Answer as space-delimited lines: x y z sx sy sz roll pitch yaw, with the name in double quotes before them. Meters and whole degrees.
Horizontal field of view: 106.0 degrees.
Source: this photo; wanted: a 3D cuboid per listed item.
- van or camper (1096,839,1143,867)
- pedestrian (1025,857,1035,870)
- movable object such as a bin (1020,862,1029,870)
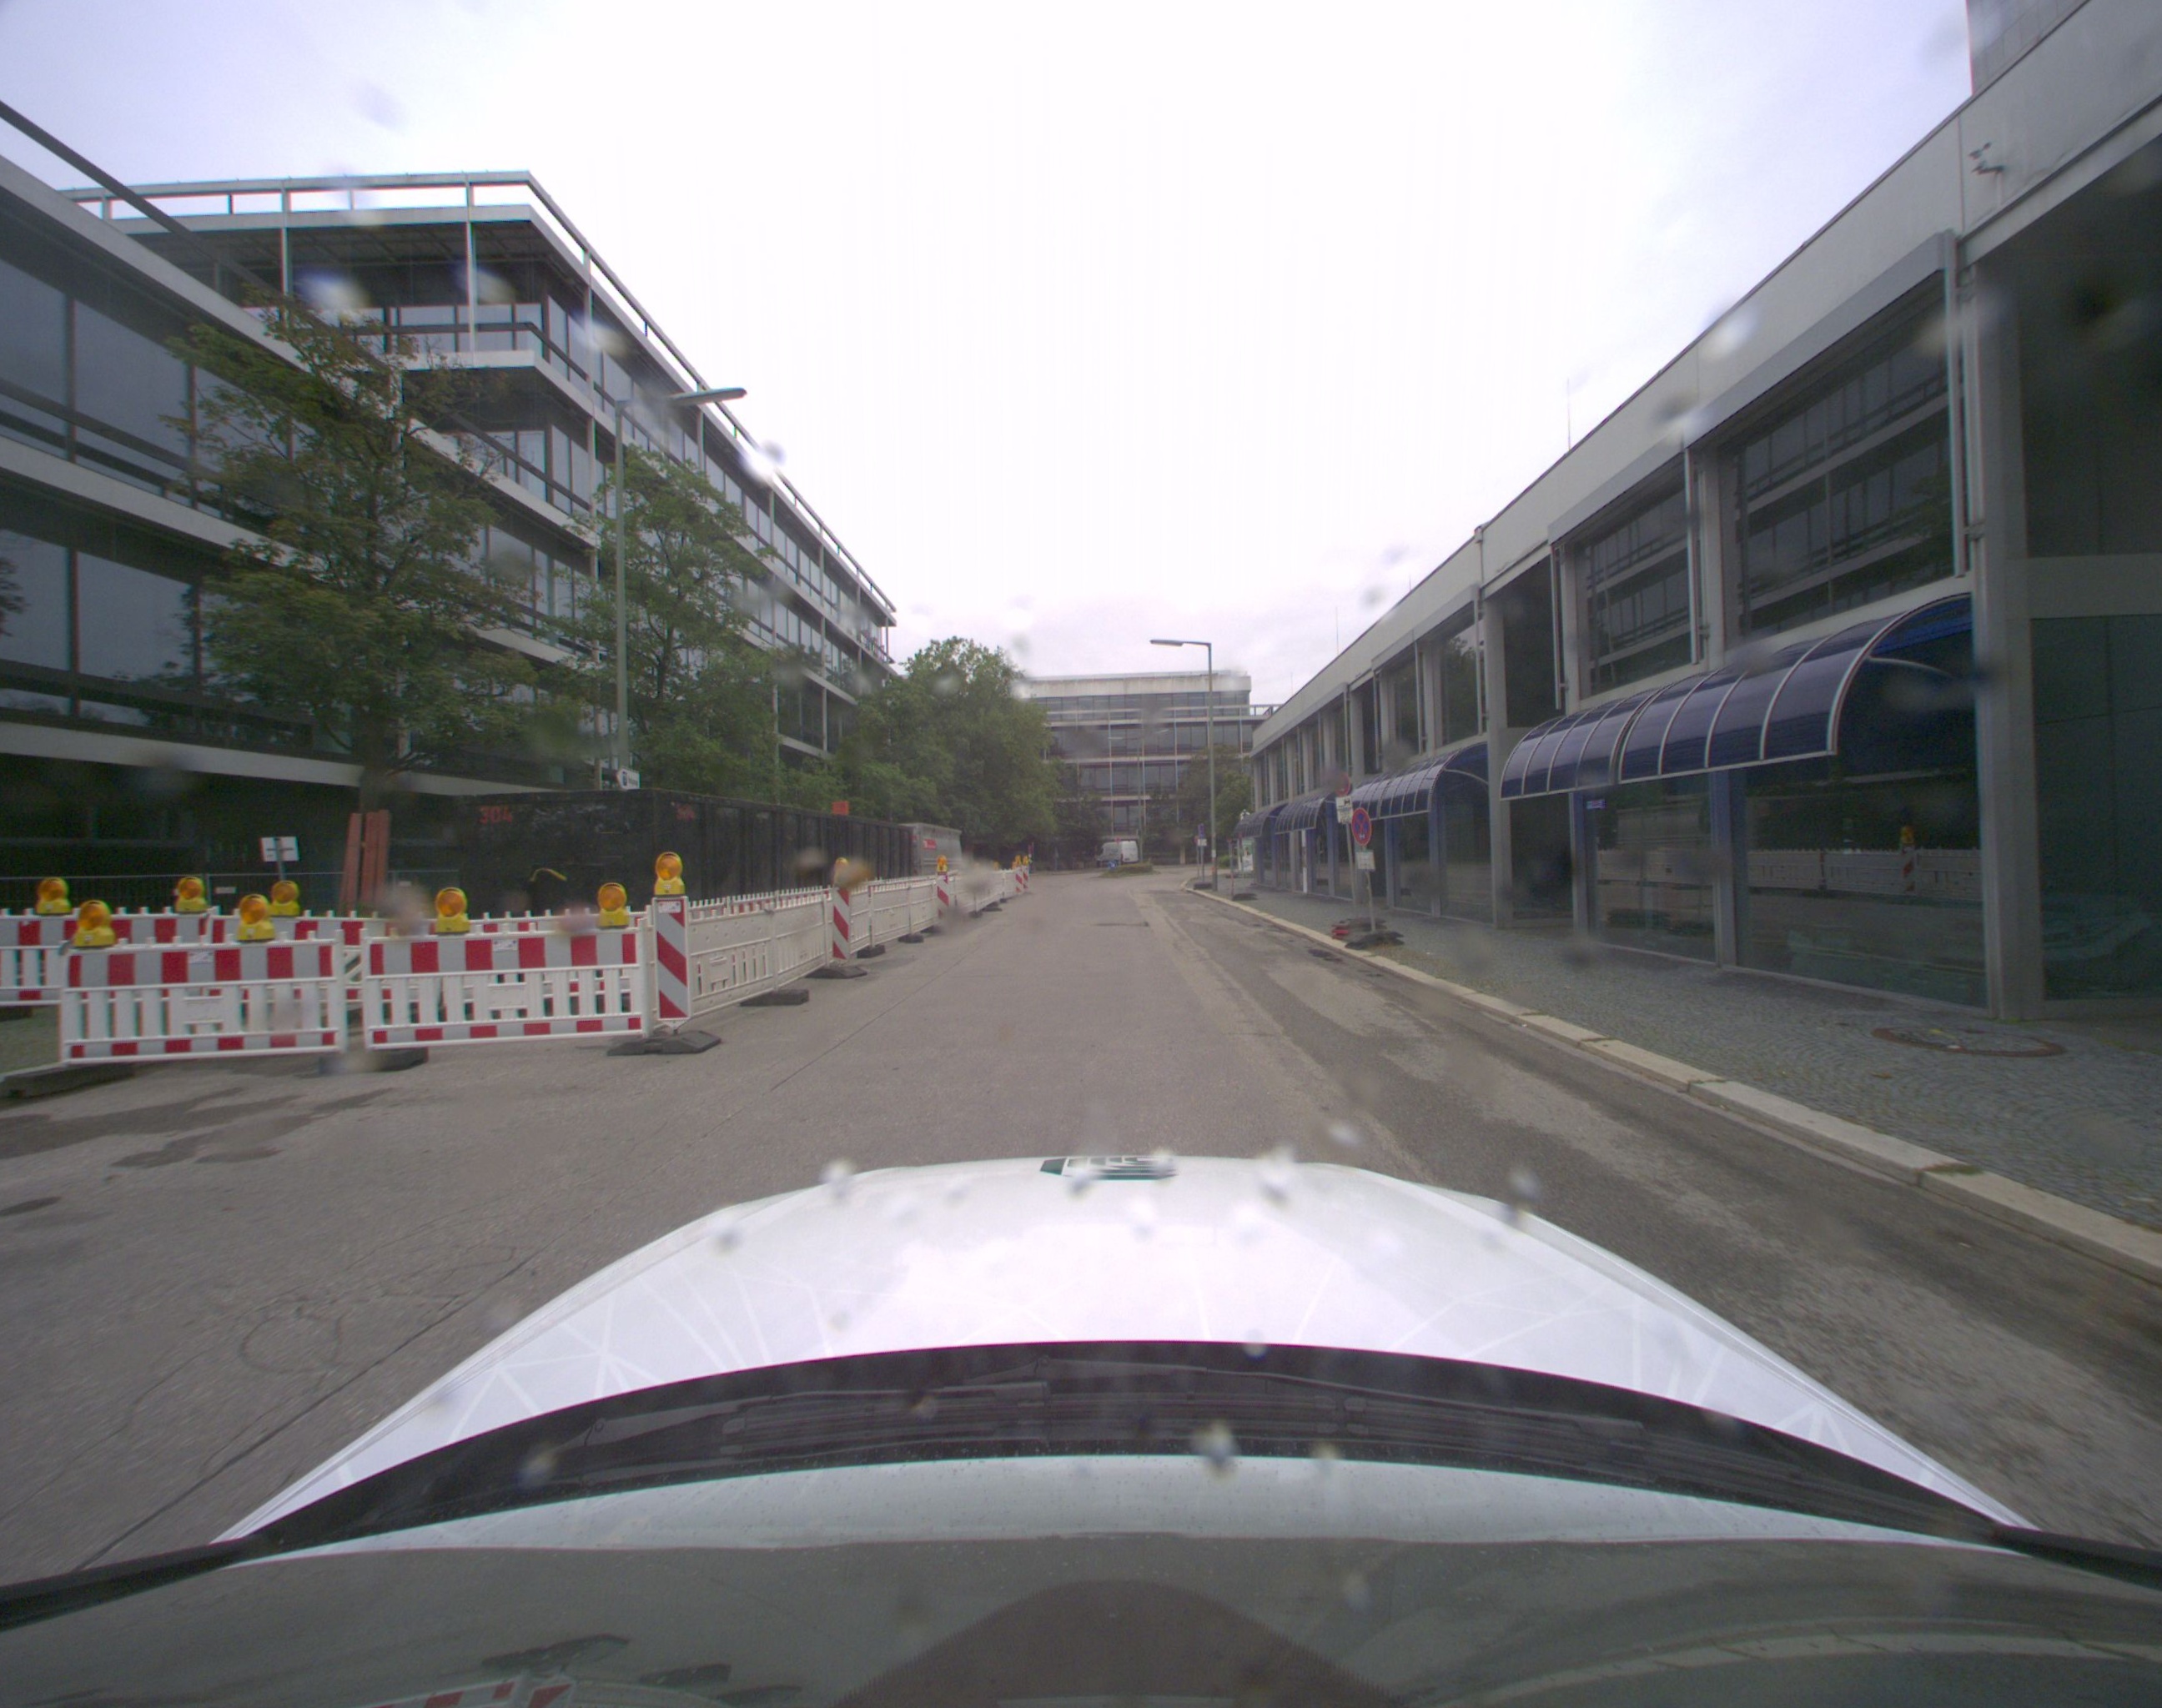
"van or camper" 3.918 -0.074 84.901 2.165 2.581 6.487 -1 -2 -23
"pedestrian" -5.192 0.960 82.978 0.922 1.278 0.542 -1 0 4
"movable object such as a bin" -5.751 1.225 82.955 0.830 0.753 0.573 -1 0 4
